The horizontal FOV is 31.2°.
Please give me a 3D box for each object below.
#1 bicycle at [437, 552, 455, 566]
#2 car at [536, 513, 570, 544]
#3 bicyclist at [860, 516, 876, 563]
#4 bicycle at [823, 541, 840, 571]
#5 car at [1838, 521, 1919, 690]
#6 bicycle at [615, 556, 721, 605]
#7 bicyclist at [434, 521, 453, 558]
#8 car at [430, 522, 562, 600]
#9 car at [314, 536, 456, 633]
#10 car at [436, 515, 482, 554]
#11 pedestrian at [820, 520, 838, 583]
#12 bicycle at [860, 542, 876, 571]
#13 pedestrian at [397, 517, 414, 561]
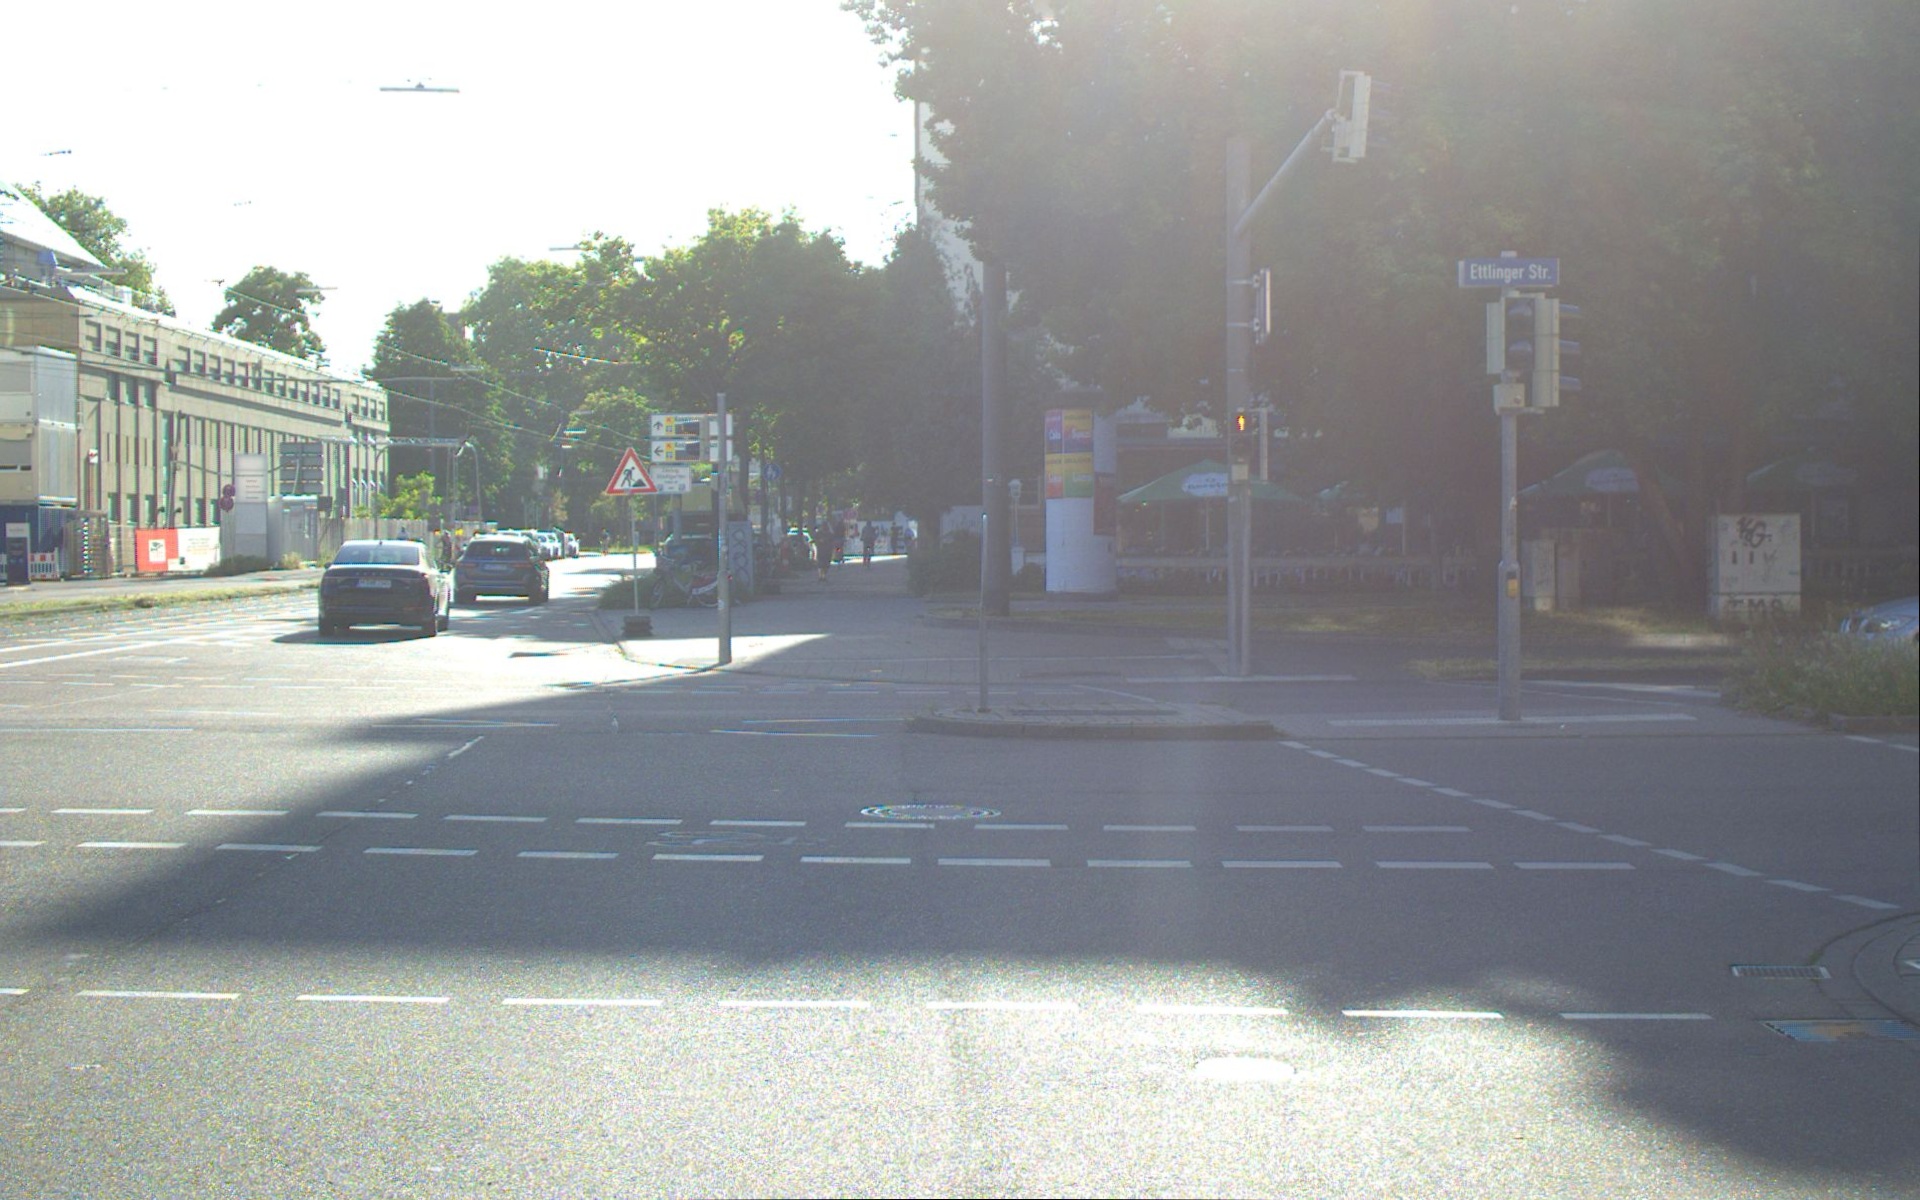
[{"bbox_3d":[-19.232,-1.534,128.637,0.501,0.513,1.258,1,1,-1],"label":"bicycle"},{"bbox_3d":[-23.031,-4.030,194.702,1.692,1.712,4.248,1,1,-4],"label":"car"},{"bbox_3d":[-3.384,-2.223,126.205,0.569,1.685,0.700,0,1,-1],"label":"bicyclist"},{"bbox_3d":[-4.703,-1.615,126.066,0.575,1.073,1.831,0,1,-1],"label":"bicycle"},{"bbox_3d":[10.753,0.021,33.426,3.993,1.605,1.650,-1,1,-1],"label":"car"},{"bbox_3d":[-5.735,-0.383,67.494,2.018,0.888,0.650,-2,0,27],"label":"bicycle"},{"bbox_3d":[-19.298,-2.250,128.417,0.596,1.372,0.638,1,0,-2],"label":"bicyclist"},{"bbox_3d":[-10.055,-0.876,74.841,1.892,1.560,4.807,3,1,3],"label":"car"},{"bbox_3d":[-8.933,-0.270,53.693,1.660,1.450,4.433,1,1,-3],"label":"car"},{"bbox_3d":[-22.789,-2.965,156.456,1.692,1.712,4.248,1,1,-4],"label":"car"},{"bbox_3d":[-3.739,-1.392,98.214,0.463,1.807,0.503,-1,1,-5],"label":"pedestrian"},{"bbox_3d":[-3.383,-1.599,126.208,0.575,1.073,1.831,0,1,-1],"label":"bicycle"},{"bbox_3d":[-25.673,-2.833,159.147,0.674,2.007,0.751,1,0,-3],"label":"pedestrian"}]
